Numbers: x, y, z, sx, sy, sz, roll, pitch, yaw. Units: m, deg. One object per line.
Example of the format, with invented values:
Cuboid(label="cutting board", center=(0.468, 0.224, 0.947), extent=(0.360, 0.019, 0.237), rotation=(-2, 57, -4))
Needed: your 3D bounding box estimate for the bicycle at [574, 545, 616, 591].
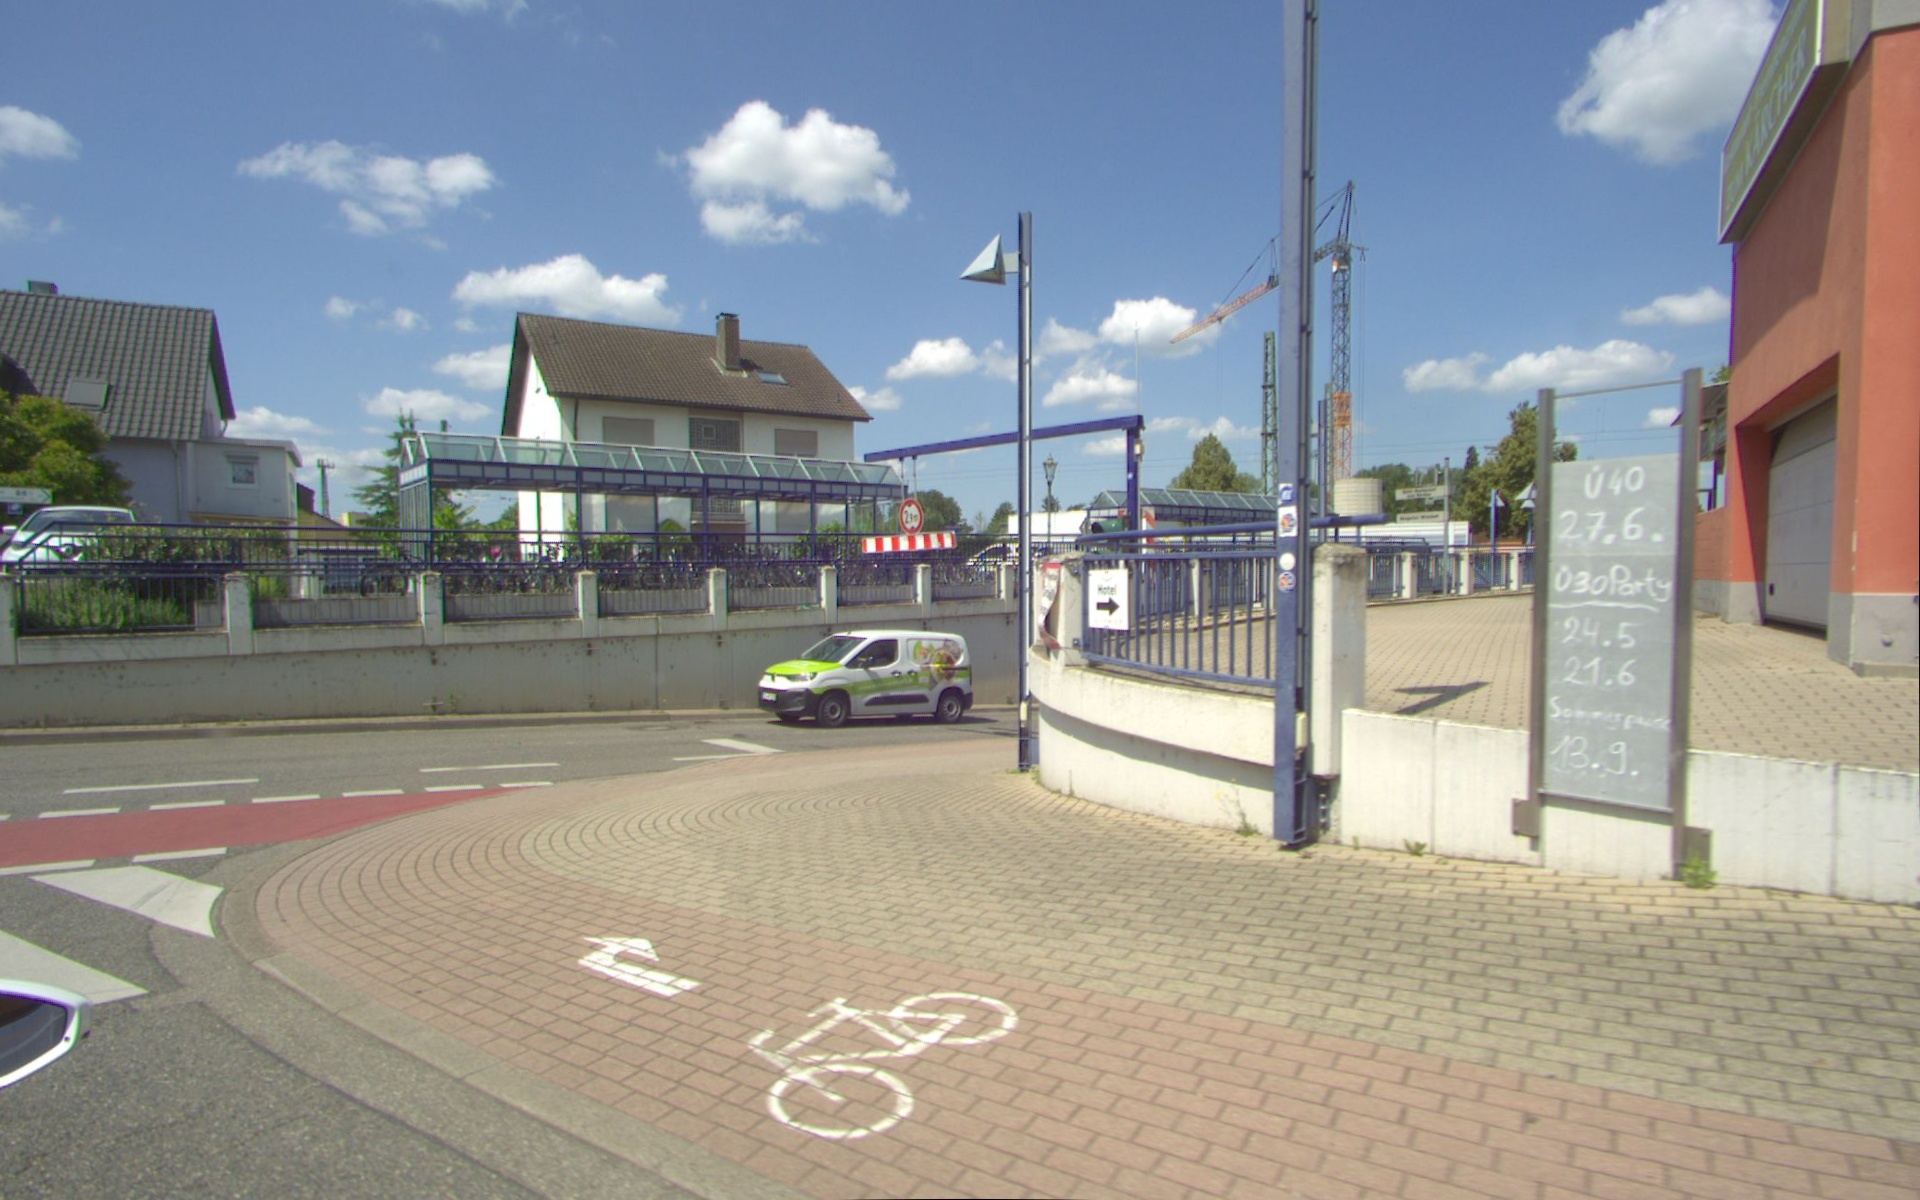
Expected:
Cuboid(label="bicycle", center=(-8.443, -0.726, 23.128), extent=(0.422, 1.008, 1.951), rotation=(-1, 2, -35))

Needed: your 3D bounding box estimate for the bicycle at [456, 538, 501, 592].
Cuboid(label="bicycle", center=(-9.468, -0.672, 19.663), extent=(0.329, 1.008, 2.058), rotation=(-1, 2, -39))

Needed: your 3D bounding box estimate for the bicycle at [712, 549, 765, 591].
Cuboid(label="bicycle", center=(-5.541, -0.732, 24.985), extent=(0.514, 1.008, 1.949), rotation=(-1, 2, -38))

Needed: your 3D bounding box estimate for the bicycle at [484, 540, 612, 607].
Cuboid(label="bicycle", center=(-7.338, -0.452, 17.910), extent=(2.097, 1.141, 0.389), rotation=(0, 2, -40))

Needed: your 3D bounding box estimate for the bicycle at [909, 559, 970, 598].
Cuboid(label="bicycle", center=(-0.572, -0.588, 27.073), extent=(0.432, 1.008, 2.144), rotation=(-1, 2, -39))

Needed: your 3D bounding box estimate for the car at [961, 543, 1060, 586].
Cuboid(label="car", center=(2.081, -1.471, 42.123), extent=(1.979, 1.700, 3.962), rotation=(-1, 2, -42))

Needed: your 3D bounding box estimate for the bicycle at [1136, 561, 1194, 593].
Cuboid(label="bicycle", center=(6.727, -0.761, 32.940), extent=(0.433, 1.008, 2.007), rotation=(-1, 2, -41))

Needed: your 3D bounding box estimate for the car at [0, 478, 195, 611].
Cuboid(label="car", center=(-14.287, -0.777, 16.715), extent=(1.974, 1.819, 4.172), rotation=(3, -2, -33))

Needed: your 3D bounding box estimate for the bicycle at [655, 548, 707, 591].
Cuboid(label="bicycle", center=(-6.779, -0.732, 24.281), extent=(0.514, 1.008, 1.949), rotation=(-1, 2, -38))

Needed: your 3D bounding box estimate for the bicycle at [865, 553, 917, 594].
Cuboid(label="bicycle", center=(-1.792, -0.674, 25.664), extent=(0.537, 1.008, 2.028), rotation=(0, 2, -29))

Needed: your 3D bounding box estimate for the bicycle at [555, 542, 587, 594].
Cuboid(label="bicycle", center=(-7.972, -0.638, 20.472), extent=(0.430, 1.008, 2.092), rotation=(0, 1, -26))

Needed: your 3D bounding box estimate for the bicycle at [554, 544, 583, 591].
Cuboid(label="bicycle", center=(-8.857, -0.721, 22.619), extent=(0.368, 1.008, 1.955), rotation=(0, 2, -29))

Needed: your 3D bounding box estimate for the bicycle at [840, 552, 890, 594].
Cuboid(label="bicycle", center=(-2.406, -0.670, 25.130), extent=(0.509, 1.008, 2.028), rotation=(0, 2, -28))

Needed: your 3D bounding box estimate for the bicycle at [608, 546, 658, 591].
Cuboid(label="bicycle", center=(-7.700, -0.727, 23.536), extent=(0.469, 1.008, 1.949), rotation=(-1, 2, -38))

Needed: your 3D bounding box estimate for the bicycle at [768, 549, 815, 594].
Cuboid(label="bicycle", center=(-3.997, -0.658, 23.617), extent=(0.571, 1.008, 2.179), rotation=(0, 1, -24))

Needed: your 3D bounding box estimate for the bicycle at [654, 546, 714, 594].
Cuboid(label="bicycle", center=(-6.106, -0.650, 22.062), extent=(0.527, 1.008, 2.264), rotation=(-1, 2, -36))

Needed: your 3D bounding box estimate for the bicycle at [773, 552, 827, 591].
Cuboid(label="bicycle", center=(-4.231, -0.746, 26.391), extent=(0.514, 1.008, 1.949), rotation=(-1, 2, -38))

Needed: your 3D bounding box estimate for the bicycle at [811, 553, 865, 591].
Cuboid(label="bicycle", center=(-3.326, -0.749, 27.069), extent=(0.514, 1.008, 1.949), rotation=(-1, 2, -38))

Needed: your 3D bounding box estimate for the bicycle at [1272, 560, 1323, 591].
Cuboid(label="bicycle", center=(12.838, -0.935, 38.143), extent=(0.506, 1.174, 1.806), rotation=(-1, 2, -40))

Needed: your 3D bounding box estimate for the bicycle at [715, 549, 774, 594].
Cuboid(label="bicycle", center=(-5.055, -0.664, 23.415), extent=(0.527, 1.008, 2.171), rotation=(-1, 2, -36))

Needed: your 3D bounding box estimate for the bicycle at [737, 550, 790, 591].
Cuboid(label="bicycle", center=(-5.015, -0.737, 25.497), extent=(0.514, 1.008, 1.949), rotation=(-1, 2, -38))

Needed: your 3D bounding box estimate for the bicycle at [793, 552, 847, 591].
Cuboid(label="bicycle", center=(-3.754, -0.747, 26.729), extent=(0.514, 1.008, 1.949), rotation=(-1, 2, -38))

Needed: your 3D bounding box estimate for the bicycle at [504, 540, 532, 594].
Cuboid(label="bicycle", center=(-8.679, -0.631, 19.717), extent=(0.429, 1.008, 2.095), rotation=(0, 1, -22))

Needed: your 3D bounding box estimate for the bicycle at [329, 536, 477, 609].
Cuboid(label="bicycle", center=(-9.103, -0.442, 16.451), extent=(2.097, 1.141, 0.330), rotation=(0, 2, -40))

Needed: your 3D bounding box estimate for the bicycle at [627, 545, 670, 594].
Cuboid(label="bicycle", center=(-6.763, -0.649, 21.671), extent=(0.430, 1.008, 2.268), rotation=(0, 2, -30))

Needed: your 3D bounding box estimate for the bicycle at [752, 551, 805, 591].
Cuboid(label="bicycle", center=(-4.733, -0.744, 26.047), extent=(0.514, 1.008, 1.949), rotation=(-1, 2, -38))

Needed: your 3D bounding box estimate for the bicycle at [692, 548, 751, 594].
Cuboid(label="bicycle", center=(-5.460, -0.657, 22.813), extent=(0.527, 1.008, 2.171), rotation=(-1, 2, -36))

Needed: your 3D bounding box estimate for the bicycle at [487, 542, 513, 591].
Cuboid(label="bicycle", center=(-9.909, -0.711, 21.561), extent=(0.368, 1.008, 1.955), rotation=(0, 2, -29))

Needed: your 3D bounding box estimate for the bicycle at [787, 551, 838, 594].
Cuboid(label="bicycle", center=(-3.603, -0.667, 24.345), extent=(0.510, 1.008, 2.027), rotation=(0, 2, -30))

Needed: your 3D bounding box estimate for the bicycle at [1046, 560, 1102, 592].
Cuboid(label="bicycle", center=(3.731, -0.792, 33.005), extent=(0.506, 1.008, 2.007), rotation=(-1, 2, -41))

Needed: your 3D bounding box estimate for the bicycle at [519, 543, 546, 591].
Cuboid(label="bicycle", center=(-9.547, -0.722, 22.336), extent=(0.368, 1.008, 1.955), rotation=(0, 2, -29))

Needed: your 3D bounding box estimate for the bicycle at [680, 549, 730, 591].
Cuboid(label="bicycle", center=(-6.330, -0.737, 24.793), extent=(0.514, 1.008, 1.787), rotation=(-1, 2, -38))

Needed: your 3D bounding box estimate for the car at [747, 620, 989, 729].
Cuboid(label="car", center=(-1.715, 1.455, 19.717), extent=(4.513, 1.878, 1.802), rotation=(4, -2, -41))

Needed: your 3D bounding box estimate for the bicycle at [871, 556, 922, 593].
Cuboid(label="bicycle", center=(-1.802, -0.720, 28.097), extent=(0.538, 1.008, 2.026), rotation=(0, 2, -32))

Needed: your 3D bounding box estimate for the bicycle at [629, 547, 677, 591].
Cuboid(label="bicycle", center=(-7.320, -0.728, 23.818), extent=(0.410, 1.008, 1.949), rotation=(-1, 2, -38))

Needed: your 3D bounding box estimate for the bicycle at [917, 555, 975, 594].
Cuboid(label="bicycle", center=(-0.390, -0.685, 26.985), extent=(0.538, 1.008, 2.024), rotation=(-1, 2, -34))

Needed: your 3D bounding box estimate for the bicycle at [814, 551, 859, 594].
Cuboid(label="bicycle", center=(-3.078, -0.671, 24.805), extent=(0.509, 1.008, 2.030), rotation=(0, 1, -25))

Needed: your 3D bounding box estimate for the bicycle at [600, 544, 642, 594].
Cuboid(label="bicycle", center=(-7.236, -0.647, 21.338), extent=(0.430, 1.008, 2.268), rotation=(0, 2, -30))

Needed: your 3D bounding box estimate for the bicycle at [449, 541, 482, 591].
Cuboid(label="bicycle", center=(-10.372, -0.706, 21.032), extent=(0.449, 1.008, 1.881), rotation=(0, 1, -21))
